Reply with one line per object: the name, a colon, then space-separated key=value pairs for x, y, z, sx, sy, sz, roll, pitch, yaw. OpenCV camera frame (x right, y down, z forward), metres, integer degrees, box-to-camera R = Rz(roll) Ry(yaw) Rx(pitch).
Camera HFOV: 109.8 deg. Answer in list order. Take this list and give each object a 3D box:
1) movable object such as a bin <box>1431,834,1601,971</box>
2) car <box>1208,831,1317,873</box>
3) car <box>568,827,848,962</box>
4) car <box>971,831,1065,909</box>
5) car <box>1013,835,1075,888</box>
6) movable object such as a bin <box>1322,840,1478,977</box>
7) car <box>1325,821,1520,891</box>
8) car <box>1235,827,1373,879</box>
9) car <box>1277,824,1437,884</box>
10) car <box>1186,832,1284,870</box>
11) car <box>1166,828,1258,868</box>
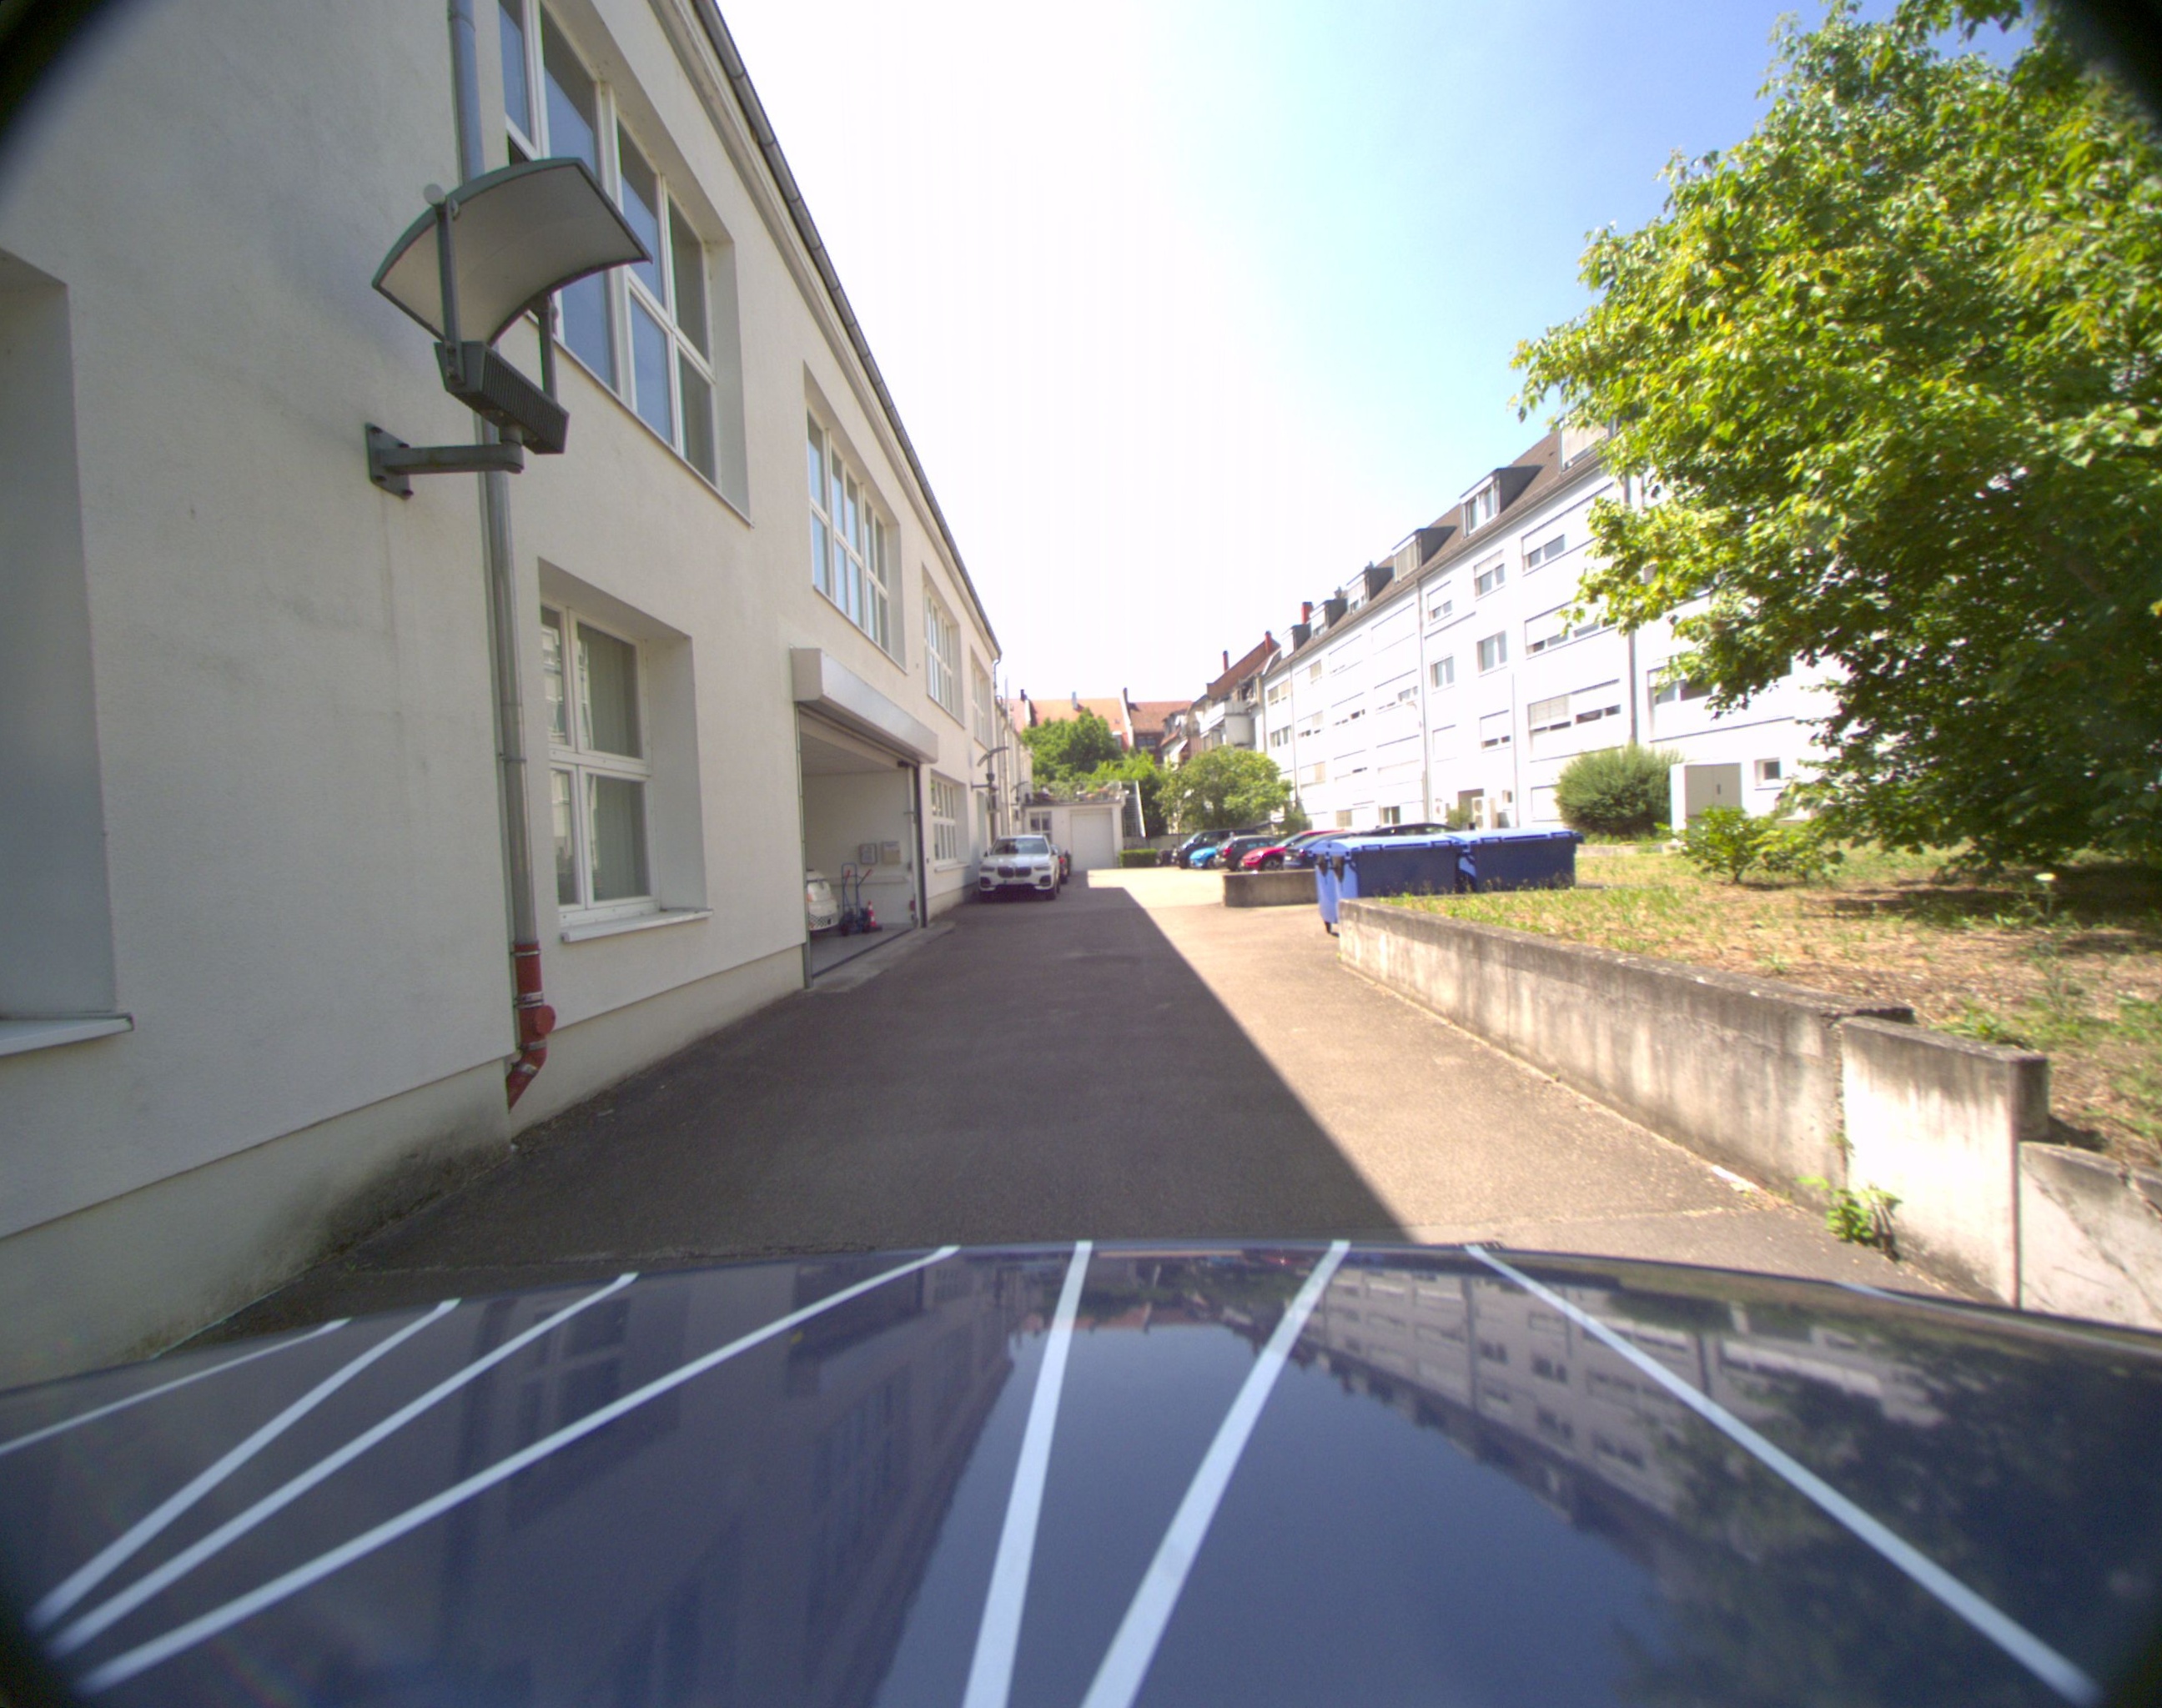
movable object such as a bin: x=4.832 y=0.501 z=8.544 sx=1.271 sy=1.381 sz=1.095 roll=-3 pitch=2 yaw=1
car: x=7.783 y=-0.104 z=32.809 sx=4.223 sy=1.560 sz=1.612 roll=-3 pitch=2 yaw=-4
car: x=-6.199 y=0.636 z=12.883 sx=3.836 sy=2.002 sz=1.654 roll=-3 pitch=2 yaw=5
car: x=-1.583 y=0.320 z=20.885 sx=2.011 sy=1.793 sz=4.726 roll=-3 pitch=2 yaw=1
car: x=-1.358 y=0.205 z=29.685 sx=2.011 sy=1.793 sz=4.726 roll=-3 pitch=2 yaw=1
movable object such as a bin: x=3.534 y=0.563 z=8.542 sx=1.271 sy=1.381 sz=1.095 roll=-3 pitch=2 yaw=1
car: x=8.987 y=0.019 z=20.163 sx=4.445 sy=1.560 sz=1.612 roll=-3 pitch=2 yaw=-4
car: x=7.639 y=-0.060 z=26.194 sx=4.223 sy=1.560 sz=1.612 roll=-3 pitch=2 yaw=-4
car: x=8.243 y=-0.025 z=22.879 sx=4.223 sy=1.560 sz=1.612 roll=-3 pitch=2 yaw=-4
car: x=7.221 y=-0.148 z=35.876 sx=4.223 sy=1.560 sz=1.612 roll=-3 pitch=2 yaw=-4
car: x=6.641 y=-0.333 z=38.816 sx=4.223 sy=1.813 sz=2.008 roll=-3 pitch=2 yaw=-4
